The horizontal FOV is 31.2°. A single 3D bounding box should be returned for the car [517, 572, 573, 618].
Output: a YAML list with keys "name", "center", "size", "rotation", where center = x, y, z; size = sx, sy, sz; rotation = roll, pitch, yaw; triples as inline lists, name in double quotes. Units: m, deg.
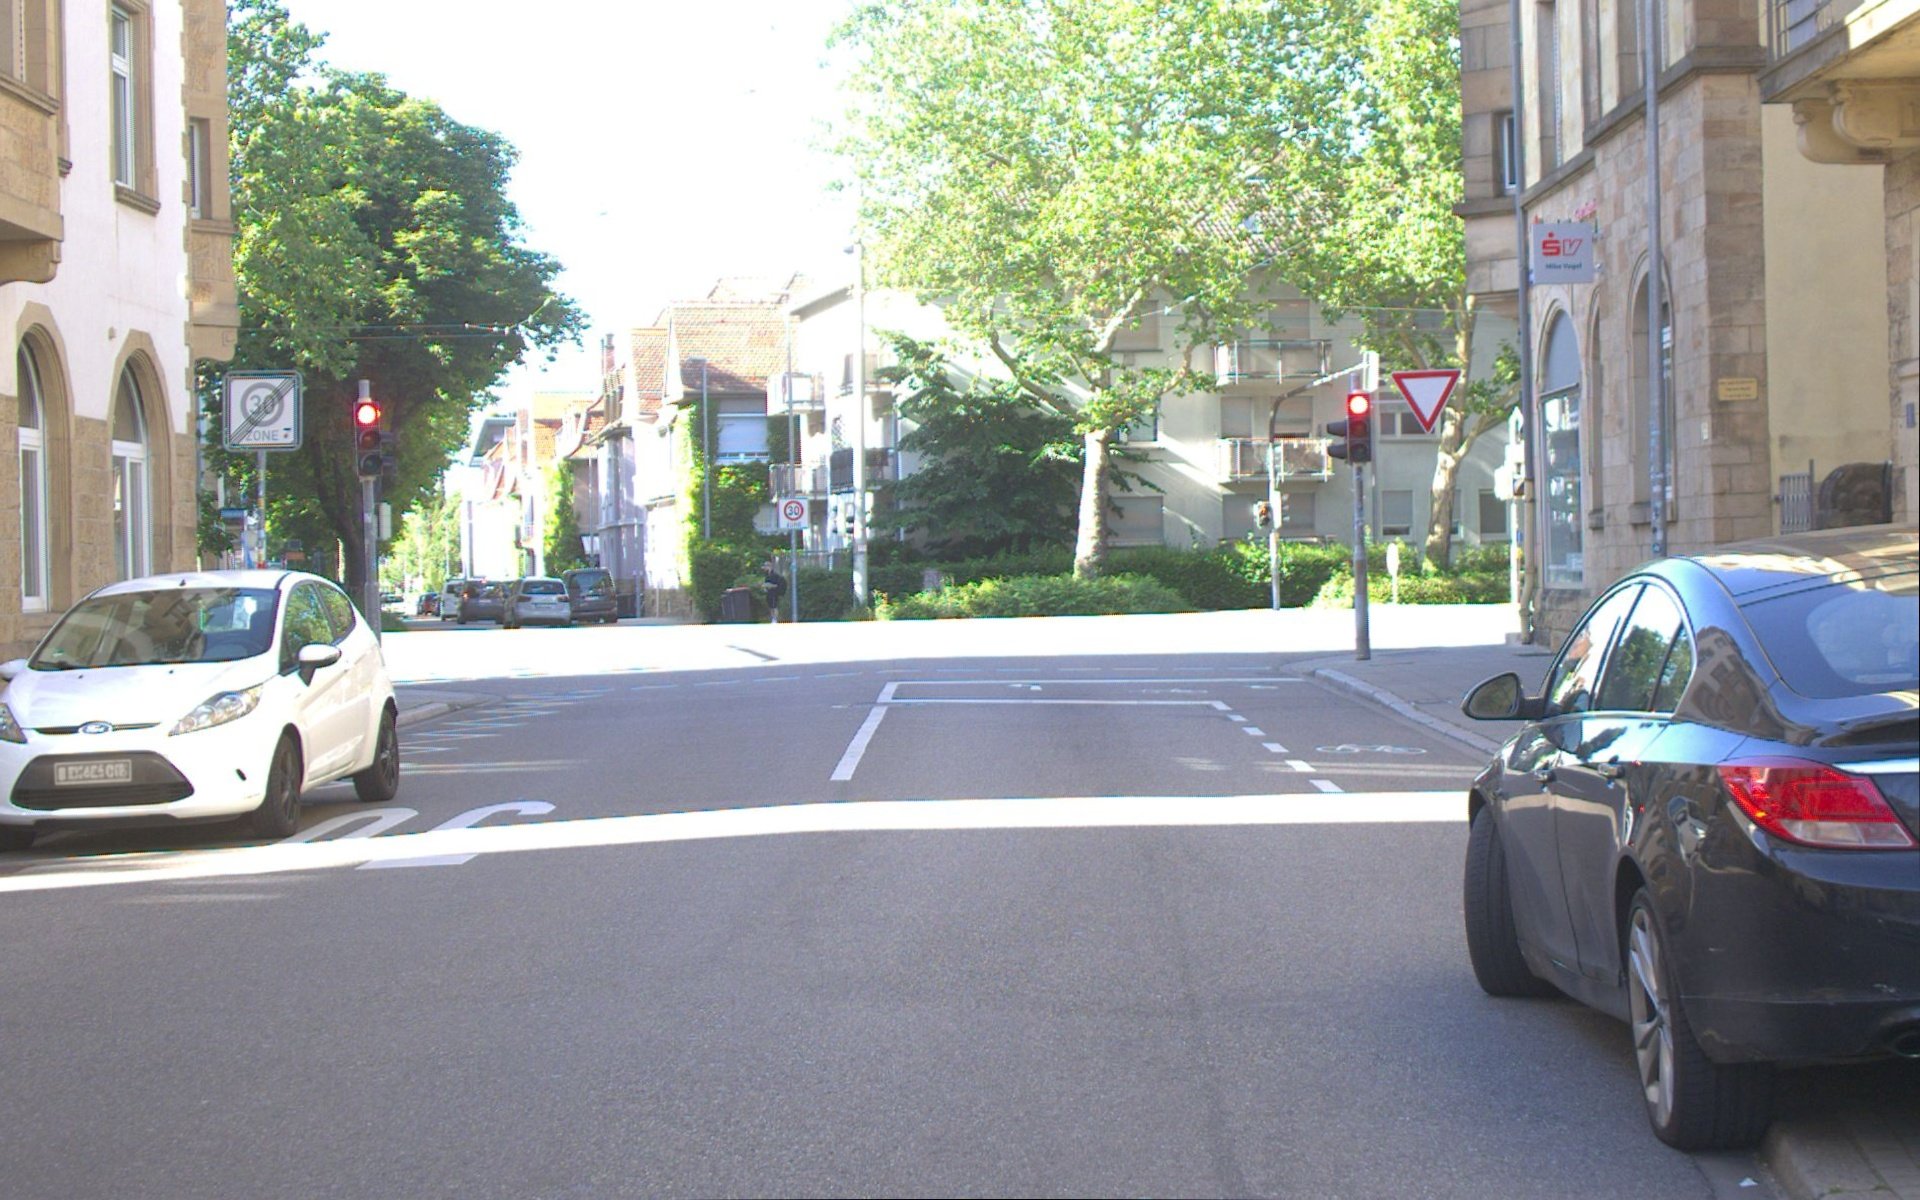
- name: "car"
  center: [-13.731, -0.172, 113.601]
  size: [1.673, 1.477, 3.523]
  rotation: [0, 0, -10]

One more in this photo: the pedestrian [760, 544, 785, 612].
- name: "pedestrian"
  center: [-4.801, -0.569, 88.077]
  size: [0.633, 1.744, 0.659]
  rotation: [0, 0, -2]

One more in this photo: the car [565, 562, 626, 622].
- name: "car"
  center: [-13.065, -0.306, 123.088]
  size: [1.993, 2.007, 4.001]
  rotation: [-2, 1, -7]

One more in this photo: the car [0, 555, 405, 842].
- name: "car"
  center: [-4.407, 0.490, 19.691]
  size: [1.634, 1.459, 3.734]
  rotation: [-1, 1, 3]

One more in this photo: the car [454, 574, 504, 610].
- name: "car"
  center: [-19.398, -0.332, 138.538]
  size: [1.737, 1.332, 3.835]
  rotation: [-2, 1, -11]

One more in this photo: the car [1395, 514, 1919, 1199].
- name: "car"
  center: [2.426, 0.504, 9.560]
  size: [1.865, 1.457, 4.339]
  rotation: [-2, 1, 0]

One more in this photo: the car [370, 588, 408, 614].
- name: "car"
  center: [-33.644, 0.053, 202.657]
  size: [1.993, 1.441, 4.001]
  rotation: [-2, 1, -12]
